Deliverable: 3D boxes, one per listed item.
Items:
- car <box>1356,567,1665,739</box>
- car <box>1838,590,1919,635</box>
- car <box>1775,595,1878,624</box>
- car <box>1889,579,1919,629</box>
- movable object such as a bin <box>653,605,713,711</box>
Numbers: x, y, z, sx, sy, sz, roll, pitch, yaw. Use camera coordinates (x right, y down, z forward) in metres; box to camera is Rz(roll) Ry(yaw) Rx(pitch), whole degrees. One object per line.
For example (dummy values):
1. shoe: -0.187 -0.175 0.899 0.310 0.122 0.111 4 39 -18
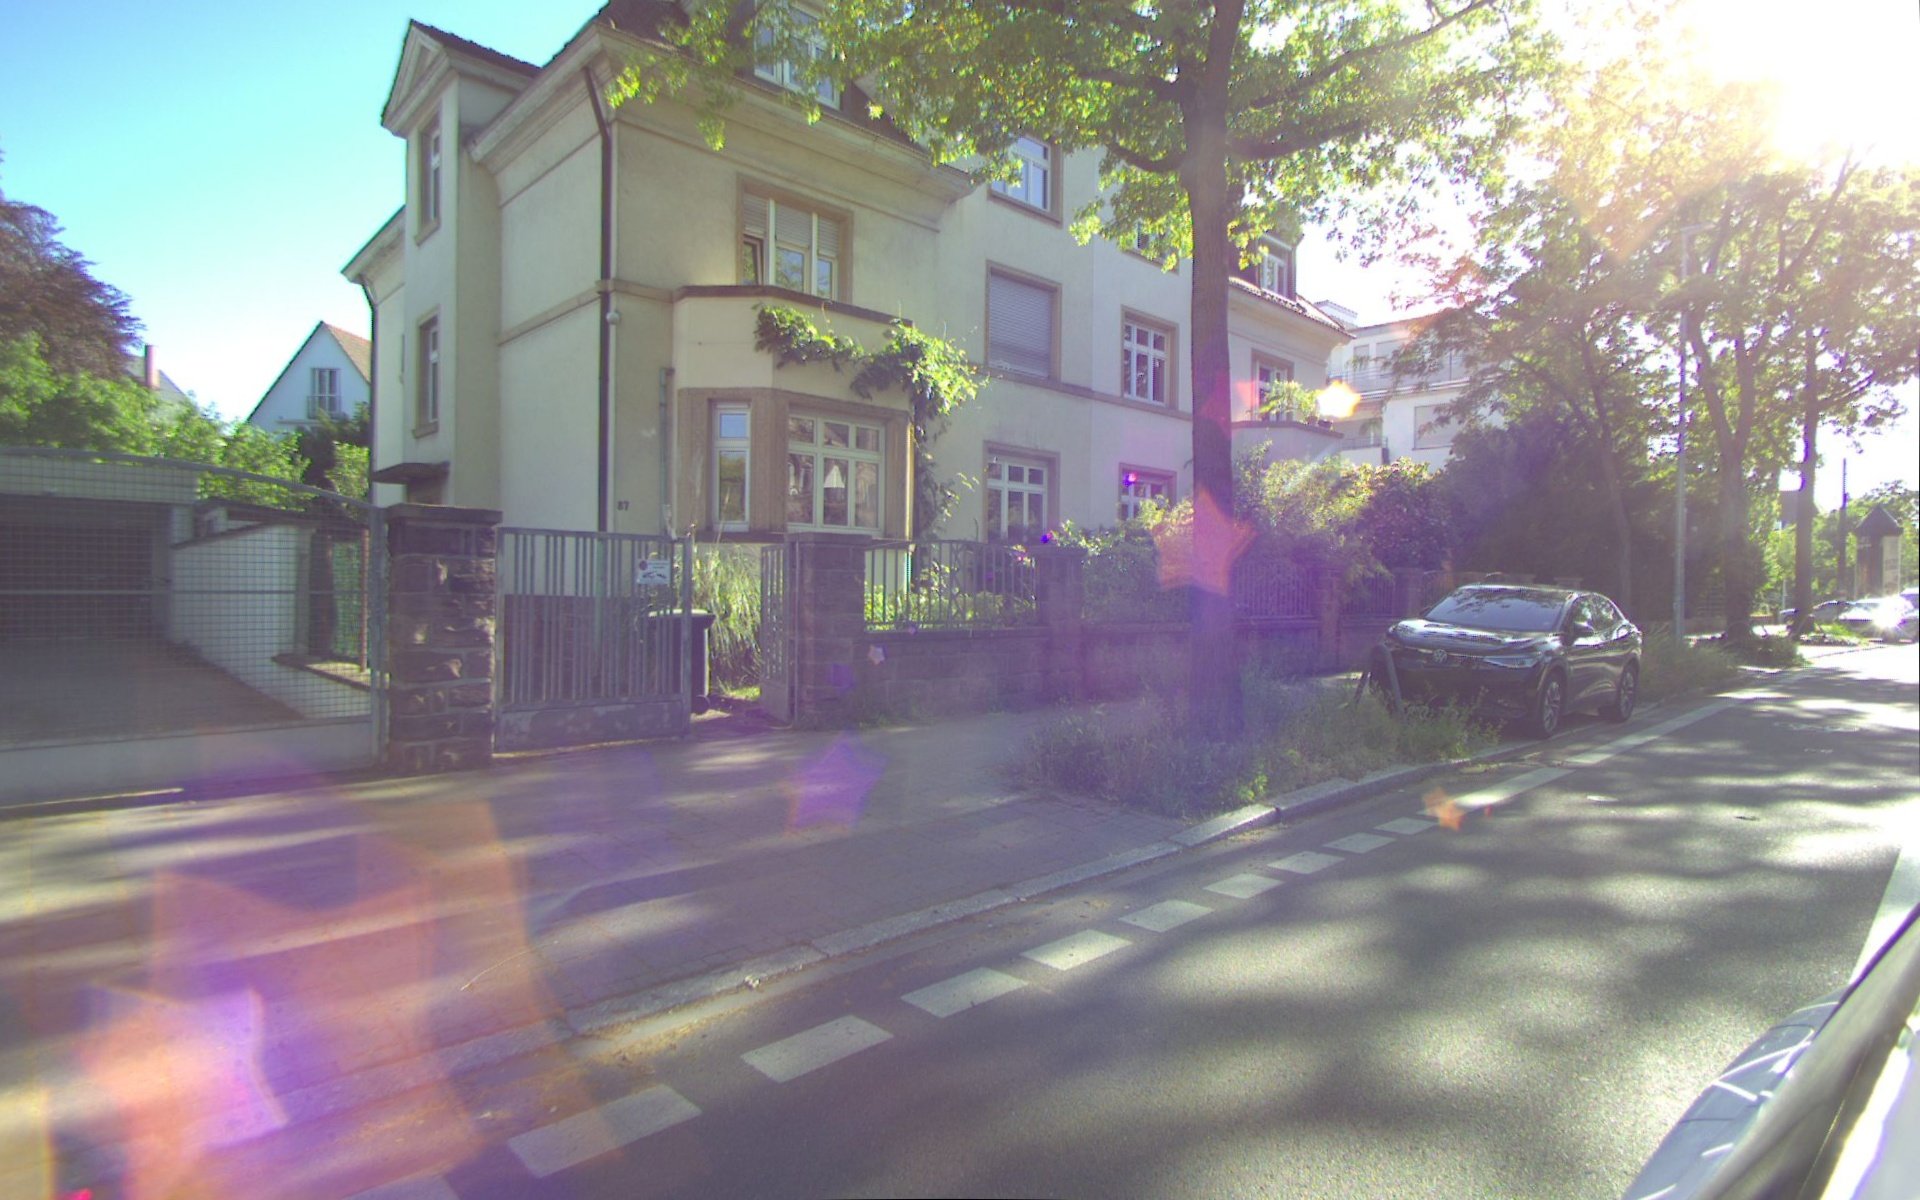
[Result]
1. car: 6.704 0.501 12.136 4.186 1.619 1.917 0 4 -42
2. car: 31.506 0.389 34.274 4.181 1.427 1.901 0 1 -38
3. car: 46.060 0.466 53.841 1.784 1.459 3.990 0 1 -44
4. car: 36.666 0.137 37.857 4.580 1.808 1.903 0 1 -35
5. movable object such as a bin: -2.928 0.589 10.671 0.551 1.062 0.676 0 0 -20
